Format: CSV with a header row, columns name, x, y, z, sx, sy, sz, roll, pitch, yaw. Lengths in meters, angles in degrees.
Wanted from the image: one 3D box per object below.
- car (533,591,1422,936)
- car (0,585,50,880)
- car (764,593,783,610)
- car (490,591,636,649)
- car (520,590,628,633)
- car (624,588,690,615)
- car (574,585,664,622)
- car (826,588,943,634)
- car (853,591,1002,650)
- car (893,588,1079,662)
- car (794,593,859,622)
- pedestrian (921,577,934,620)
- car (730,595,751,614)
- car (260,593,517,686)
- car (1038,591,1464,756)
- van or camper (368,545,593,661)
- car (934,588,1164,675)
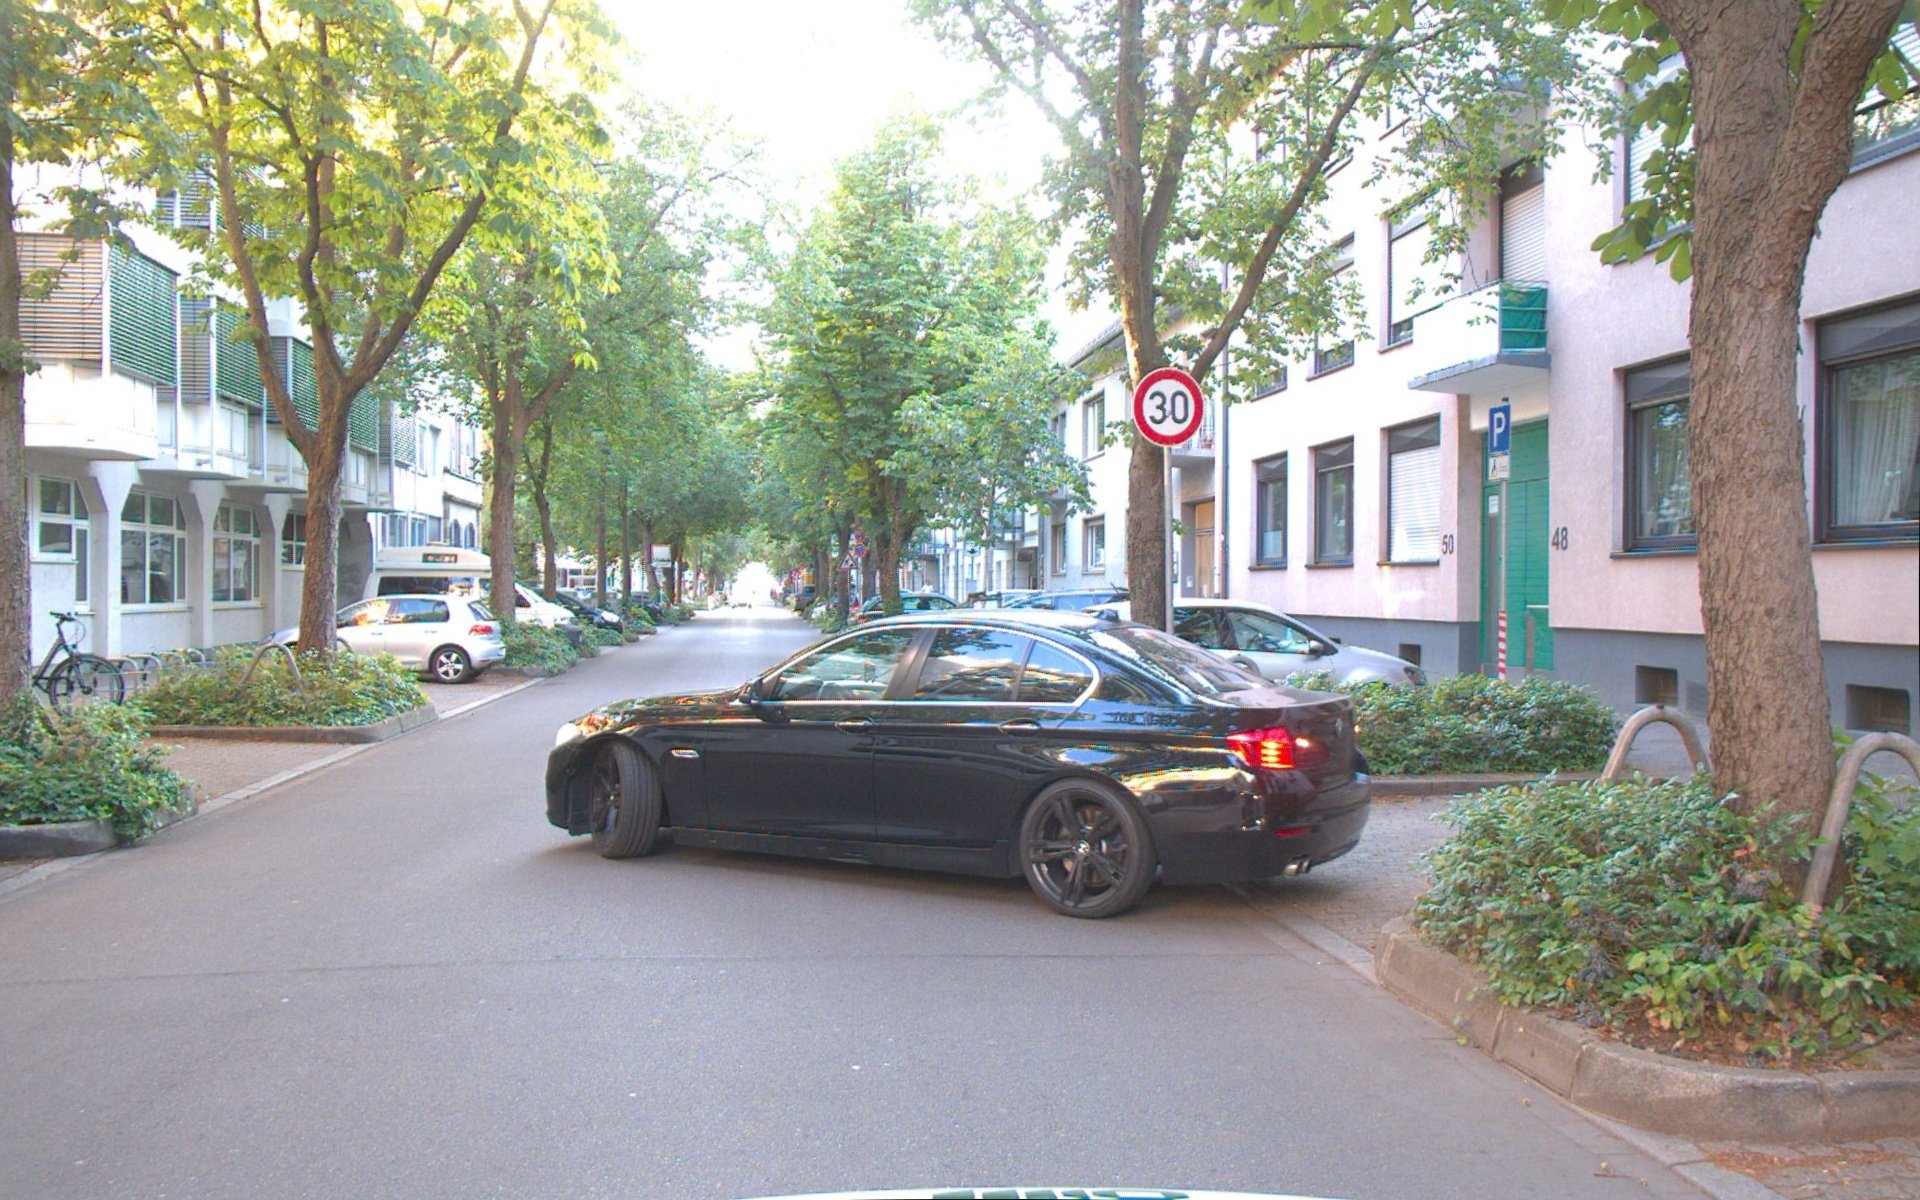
name,x,y,z,sx,sy,sz,roll,pitch,yaw
car,0.004,0.706,9.156,4.655,1.506,1.797,0,0,29
car,-7.109,0.702,8.091,4.272,1.544,1.782,0,0,-7
car,-18.043,0.139,160.315,1.787,1.557,3.995,-1,0,-6
car,-11.494,0.556,48.083,3.891,1.647,1.783,0,0,-6
car,-15.013,0.430,64.496,3.891,1.647,1.783,0,0,-6
car,-18.789,0.083,102.817,3.891,1.647,1.783,0,0,-6
car,-15.660,0.157,76.154,3.891,1.647,1.783,0,0,-6
car,-2.630,0.361,57.001,3.894,1.554,1.782,0,0,-9
car,-0.911,0.535,45.161,3.893,1.554,1.782,0,0,-8
car,0.540,0.527,36.372,3.893,1.554,1.782,0,0,-8
car,-8.165,0.460,100.867,3.891,1.713,1.783,0,0,-6
pedestrian,-1.589,-0.078,80.562,0.577,2.049,0.669,0,0,-6
car,-19.571,0.393,147.598,1.745,1.589,4.162,0,0,-6
car,-9.866,0.664,28.802,3.891,1.544,1.783,0,0,-6
car,2.808,0.668,16.331,3.836,1.502,1.661,0,0,-9
van or camper,-10.675,0.049,37.105,4.575,2.521,1.997,0,0,-7
car,1.573,0.538,29.932,3.894,1.502,1.781,0,0,-9
